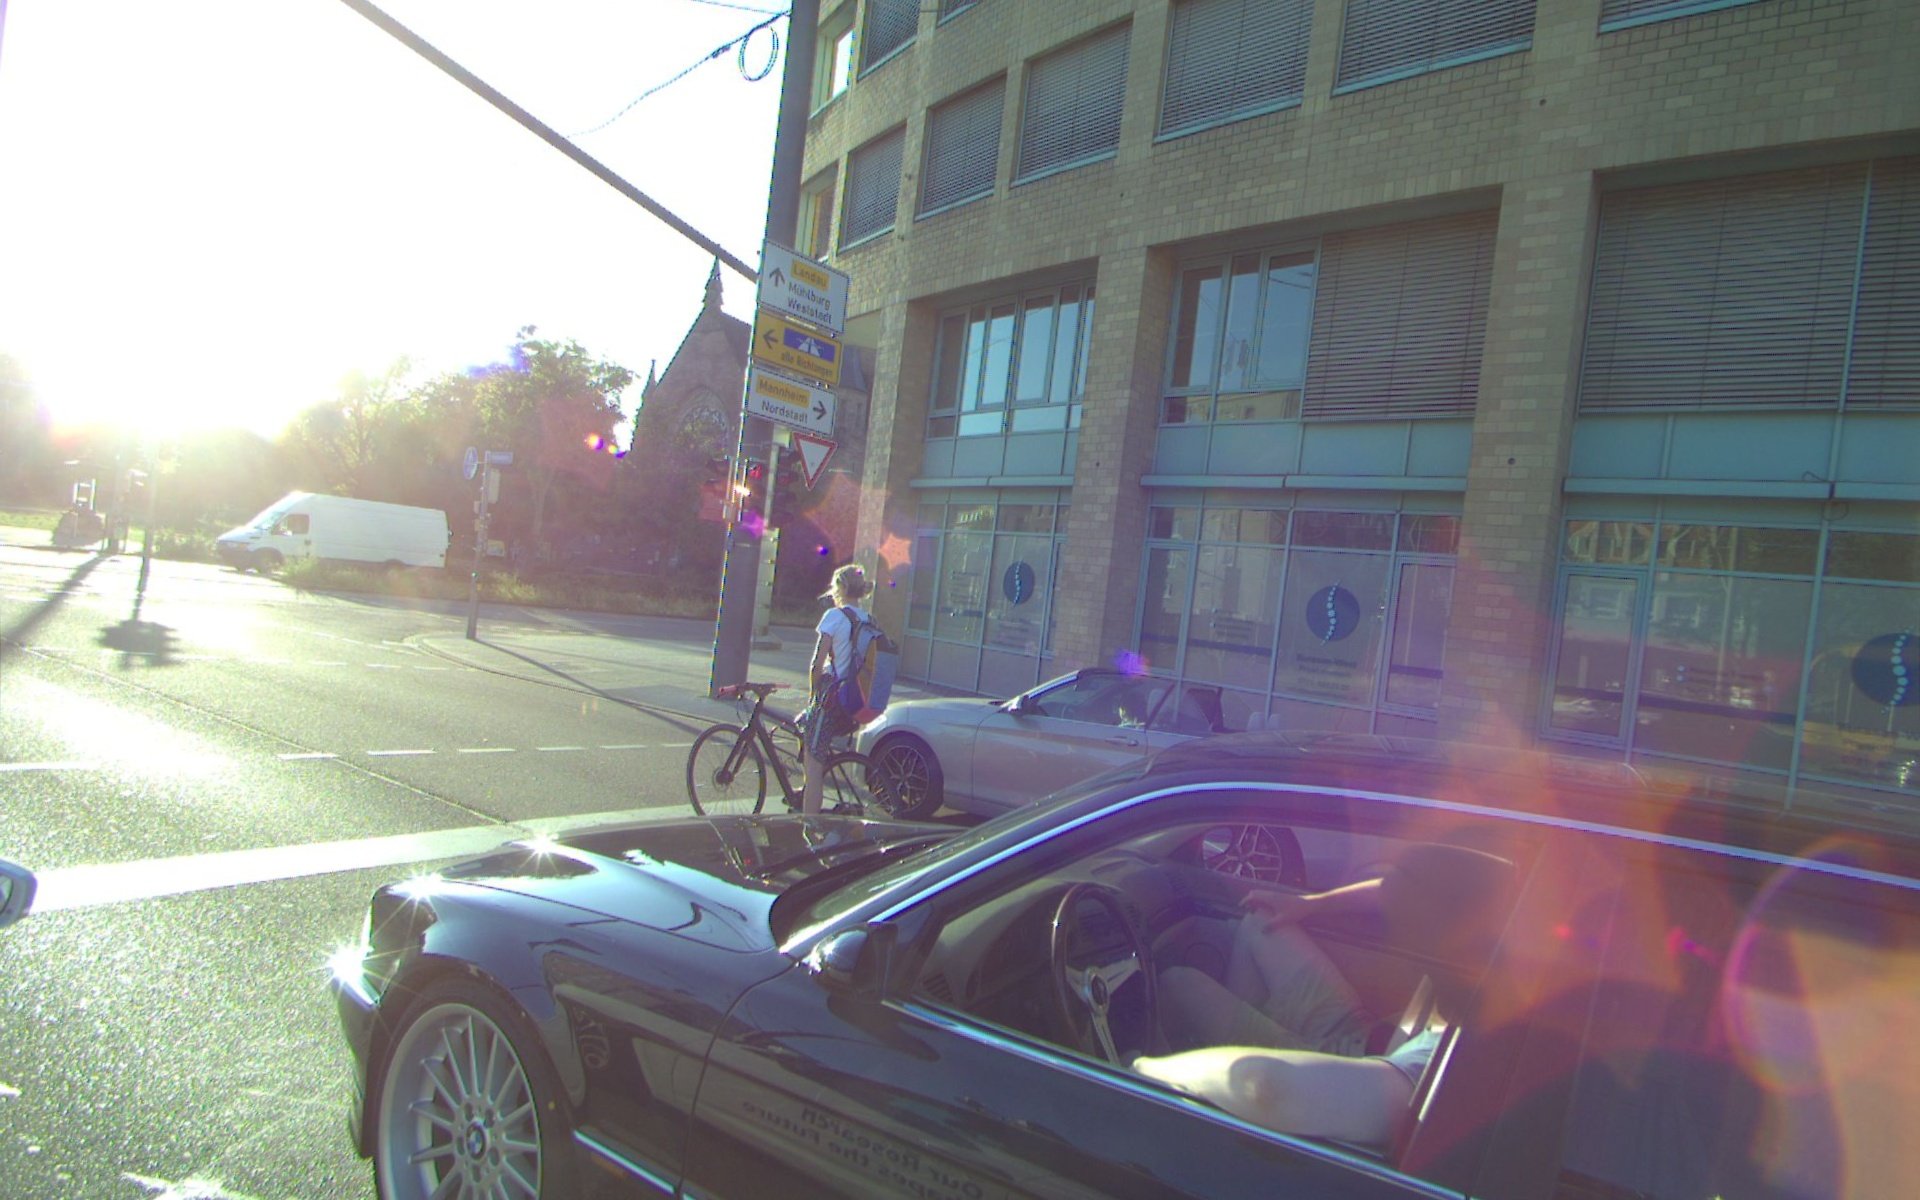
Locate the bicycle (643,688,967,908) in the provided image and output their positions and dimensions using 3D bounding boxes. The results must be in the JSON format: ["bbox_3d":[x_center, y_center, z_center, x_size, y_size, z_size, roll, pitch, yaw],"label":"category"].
[{"bbox_3d":[-0.954,1.097,5.986,1.838,0.884,0.634,7,0,30],"label":"bicycle"}]

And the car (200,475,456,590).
[{"bbox_3d":[-21.316,-2.170,34.410,2.059,2.862,7.017,7,0,33],"label":"car"}]

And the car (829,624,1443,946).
[{"bbox_3d":[1.232,1.182,7.688,4.158,1.401,1.746,7,-1,32],"label":"car"}]

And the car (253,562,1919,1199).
[{"bbox_3d":[0.877,0.931,2.013,4.661,1.402,1.997,7,-1,32],"label":"car"}]

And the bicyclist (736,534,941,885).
[{"bbox_3d":[-0.701,0.601,5.862,0.764,1.843,0.634,7,1,30],"label":"bicyclist"}]
